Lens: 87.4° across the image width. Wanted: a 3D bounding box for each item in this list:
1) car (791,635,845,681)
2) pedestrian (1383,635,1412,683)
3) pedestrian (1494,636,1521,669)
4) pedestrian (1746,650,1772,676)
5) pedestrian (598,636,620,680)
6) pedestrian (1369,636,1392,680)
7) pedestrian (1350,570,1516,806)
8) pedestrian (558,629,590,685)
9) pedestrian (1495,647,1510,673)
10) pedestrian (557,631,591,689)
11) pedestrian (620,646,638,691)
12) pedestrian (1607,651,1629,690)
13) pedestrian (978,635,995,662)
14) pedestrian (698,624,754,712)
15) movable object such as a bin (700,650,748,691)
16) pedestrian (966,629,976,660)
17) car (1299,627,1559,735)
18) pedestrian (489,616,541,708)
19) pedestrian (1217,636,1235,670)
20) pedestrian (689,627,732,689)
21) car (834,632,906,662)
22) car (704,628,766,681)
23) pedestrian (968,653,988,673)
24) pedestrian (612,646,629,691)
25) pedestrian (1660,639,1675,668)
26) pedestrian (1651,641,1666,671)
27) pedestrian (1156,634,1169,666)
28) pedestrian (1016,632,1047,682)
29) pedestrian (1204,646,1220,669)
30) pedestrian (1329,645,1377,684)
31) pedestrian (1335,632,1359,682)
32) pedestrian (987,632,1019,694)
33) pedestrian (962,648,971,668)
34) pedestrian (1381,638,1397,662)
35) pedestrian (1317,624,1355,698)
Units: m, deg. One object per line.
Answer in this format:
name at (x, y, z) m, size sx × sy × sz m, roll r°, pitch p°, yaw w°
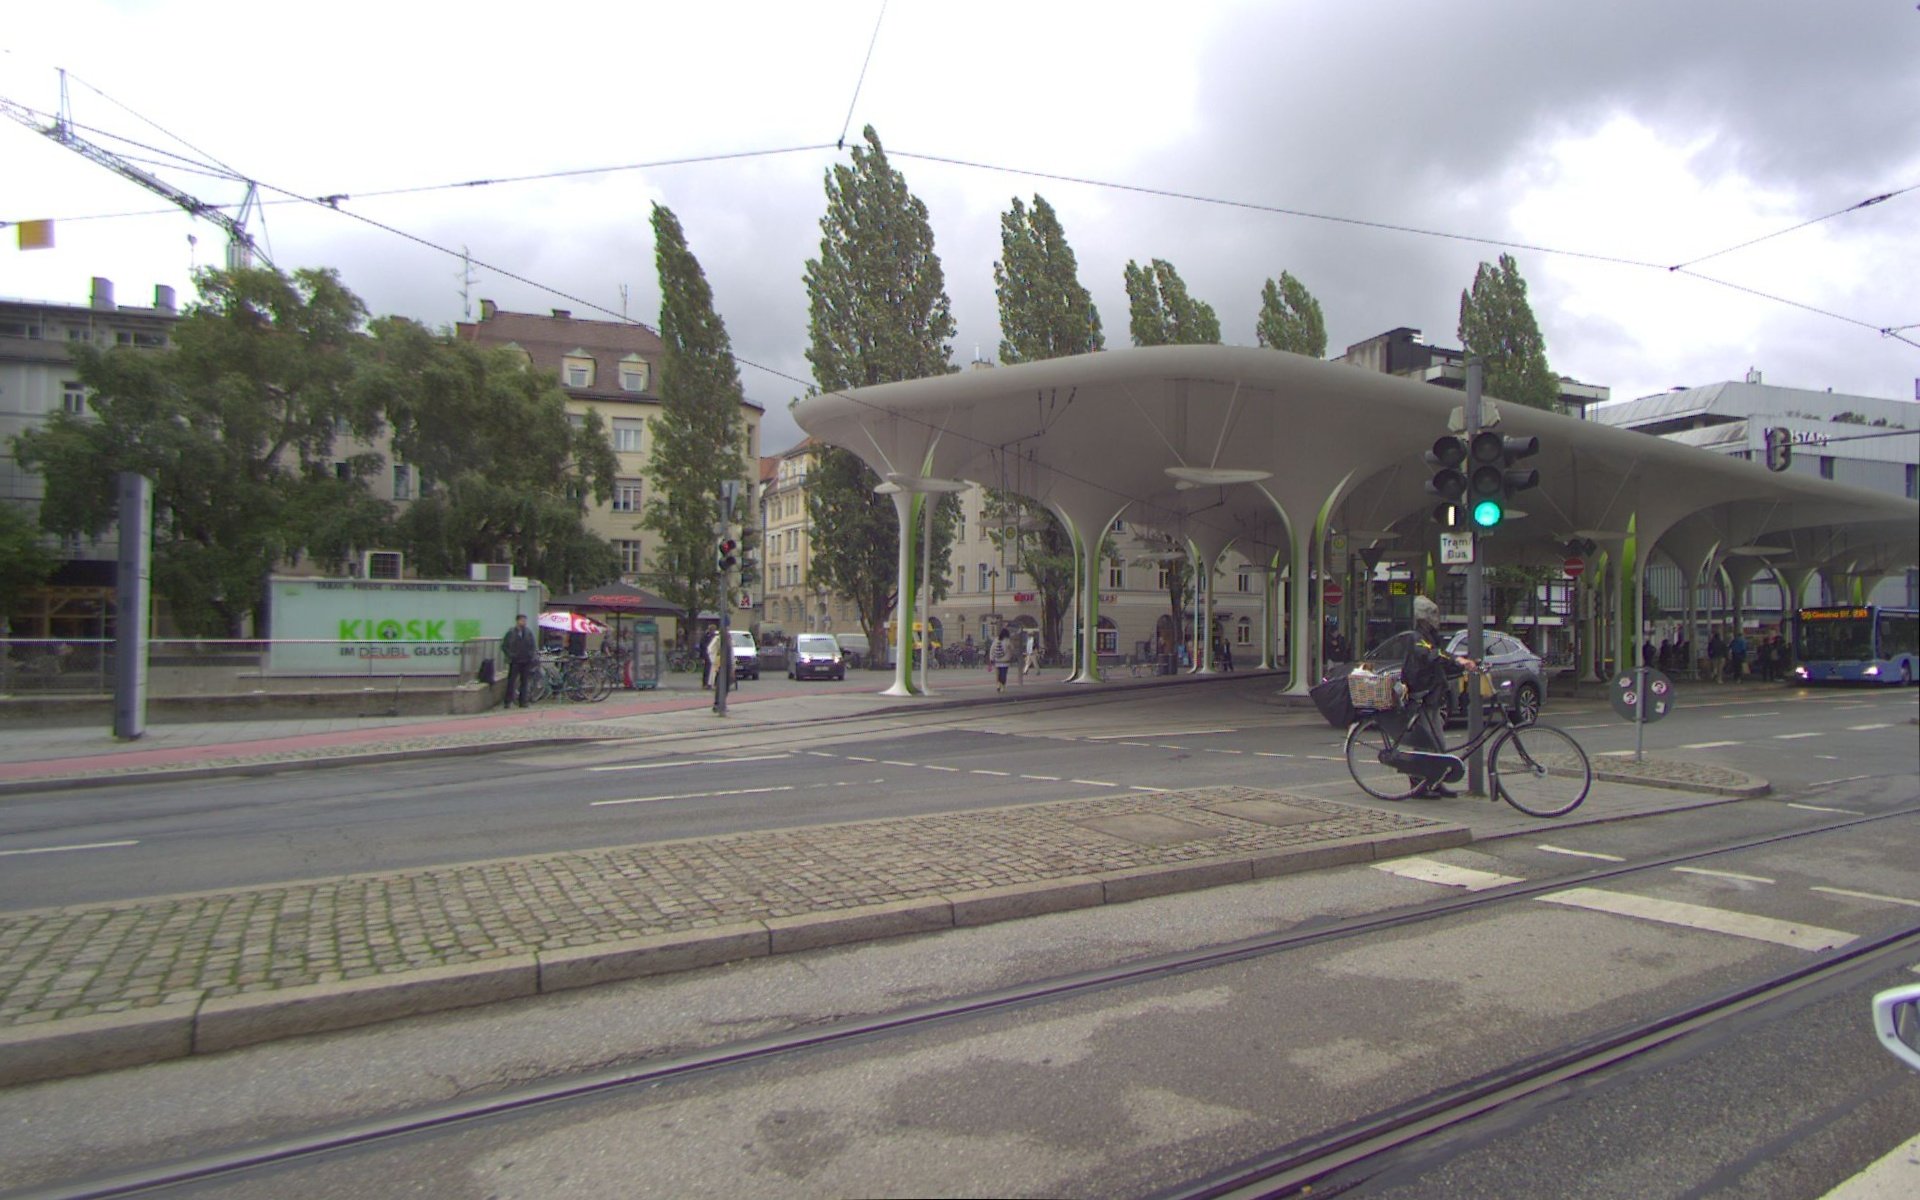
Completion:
car at (-5.464, 2.169, 38.371) m, size 1.799 × 1.637 × 3.992 m, roll 1°, pitch -2°, yaw -12°
pedestrian at (16.296, 2.186, 37.406) m, size 0.799 × 1.750 × 0.668 m, roll -1°, pitch -2°, yaw 44°
pedestrian at (28.968, 2.766, 53.152) m, size 0.884 × 1.753 × 0.867 m, roll 1°, pitch -2°, yaw -28°
pedestrian at (43.146, 3.408, 54.244) m, size 0.822 × 1.335 × 0.880 m, roll 0°, pitch -2°, yaw 16°
pedestrian at (-13.181, 2.164, 37.714) m, size 0.629 × 1.603 × 0.631 m, roll 1°, pitch -2°, yaw -30°
pedestrian at (15.172, 2.093, 36.234) m, size 0.586 × 1.565 × 0.634 m, roll -1°, pitch -2°, yaw 42°
pedestrian at (3.905, 0.708, 8.342) m, size 0.882 × 1.835 × 0.858 m, roll 2°, pitch -1°, yaw -14°
pedestrian at (-11.429, 1.679, 29.780) m, size 0.784 × 1.621 × 0.738 m, roll 1°, pitch -2°, yaw -15°
pedestrian at (27.680, 3.063, 51.257) m, size 0.563 × 1.282 × 0.520 m, roll 0°, pitch -2°, yaw 18°
pedestrian at (-10.906, 1.695, 28.405) m, size 0.784 × 1.621 × 0.738 m, roll 1°, pitch -2°, yaw -15°
pedestrian at (-9.450, 1.953, 28.702) m, size 0.425 × 1.286 × 0.409 m, roll 1°, pitch -2°, yaw -25°
pedestrian at (34.975, 3.751, 53.401) m, size 0.890 × 2.040 × 0.672 m, roll 0°, pitch -2°, yaw 27°
pedestrian at (1.837, 3.314, 68.985) m, size 0.792 × 1.807 × 0.951 m, roll 1°, pitch -2°, yaw -31°
pedestrian at (-4.494, 1.291, 19.290) m, size 0.727 × 1.650 × 0.740 m, roll -1°, pitch -2°, yaw 39°
movable object such as a bin at (-6.731, 1.991, 28.633) m, size 0.947 × 1.098 × 1.325 m, roll 2°, pitch -2°, yaw -33°
pedestrian at (0.725, 2.998, 67.747) m, size 0.562 × 2.040 × 0.669 m, roll 1°, pitch -1°, yaw -5°
car at (8.235, 1.356, 17.528) m, size 4.625 × 1.660 × 1.854 m, roll 2°, pitch -4°, yaw -32°
pedestrian at (-8.712, 1.203, 19.694) m, size 0.847 × 1.739 × 0.733 m, roll 1°, pitch -2°, yaw -20°
pedestrian at (13.056, 2.612, 49.354) m, size 0.635 × 1.669 × 0.596 m, roll 2°, pitch -2°, yaw -37°
pedestrian at (-7.366, 1.687, 29.624) m, size 0.947 × 1.785 × 1.022 m, roll 1°, pitch -2°, yaw -33°
car at (-6.038, 3.156, 67.982) m, size 4.710 × 1.945 × 2.000 m, roll 1°, pitch -2°, yaw -2°
car at (-8.936, 2.100, 39.620) m, size 1.842 × 1.973 × 4.911 m, roll 1°, pitch -2°, yaw -19°
pedestrian at (1.026, 3.631, 57.698) m, size 0.606 × 1.097 × 1.835 m, roll 1°, pitch -2°, yaw -16°
pedestrian at (-9.834, 1.978, 29.097) m, size 0.425 × 1.286 × 0.409 m, roll 1°, pitch -2°, yaw -25°
pedestrian at (40.289, 3.064, 57.204) m, size 0.577 × 1.632 × 0.568 m, roll 2°, pitch -2°, yaw -39°
pedestrian at (38.922, 3.103, 55.968) m, size 0.543 × 1.632 × 0.568 m, roll 2°, pitch -2°, yaw -39°
pedestrian at (11.495, 2.838, 57.074) m, size 0.546 × 1.838 × 0.556 m, roll 1°, pitch -2°, yaw -19°
pedestrian at (3.020, 2.399, 42.448) m, size 1.010 × 2.040 × 1.002 m, roll 1°, pitch -2°, yaw -14°
pedestrian at (12.328, 2.810, 49.078) m, size 0.573 × 1.098 × 0.513 m, roll 2°, pitch -2°, yaw -38°
pedestrian at (13.015, 2.127, 33.291) m, size 1.248 × 1.246 × 0.811 m, roll 1°, pitch -2°, yaw -12°
pedestrian at (15.067, 2.212, 39.078) m, size 0.701 × 1.897 × 0.876 m, roll 0°, pitch -2°, yaw 33°
pedestrian at (1.156, 1.685, 26.934) m, size 0.822 × 1.631 × 0.748 m, roll 0°, pitch -1°, yaw 5°
pedestrian at (0.368, 3.305, 57.113) m, size 0.397 × 1.097 × 0.467 m, roll 1°, pitch -2°, yaw -16°
pedestrian at (31.165, 3.639, 72.935) m, size 0.762 × 1.683 × 0.779 m, roll 1°, pitch -2°, yaw -20°
pedestrian at (9.638, 1.540, 25.719) m, size 0.656 × 1.863 × 0.806 m, roll -1°, pitch -2°, yaw 43°
